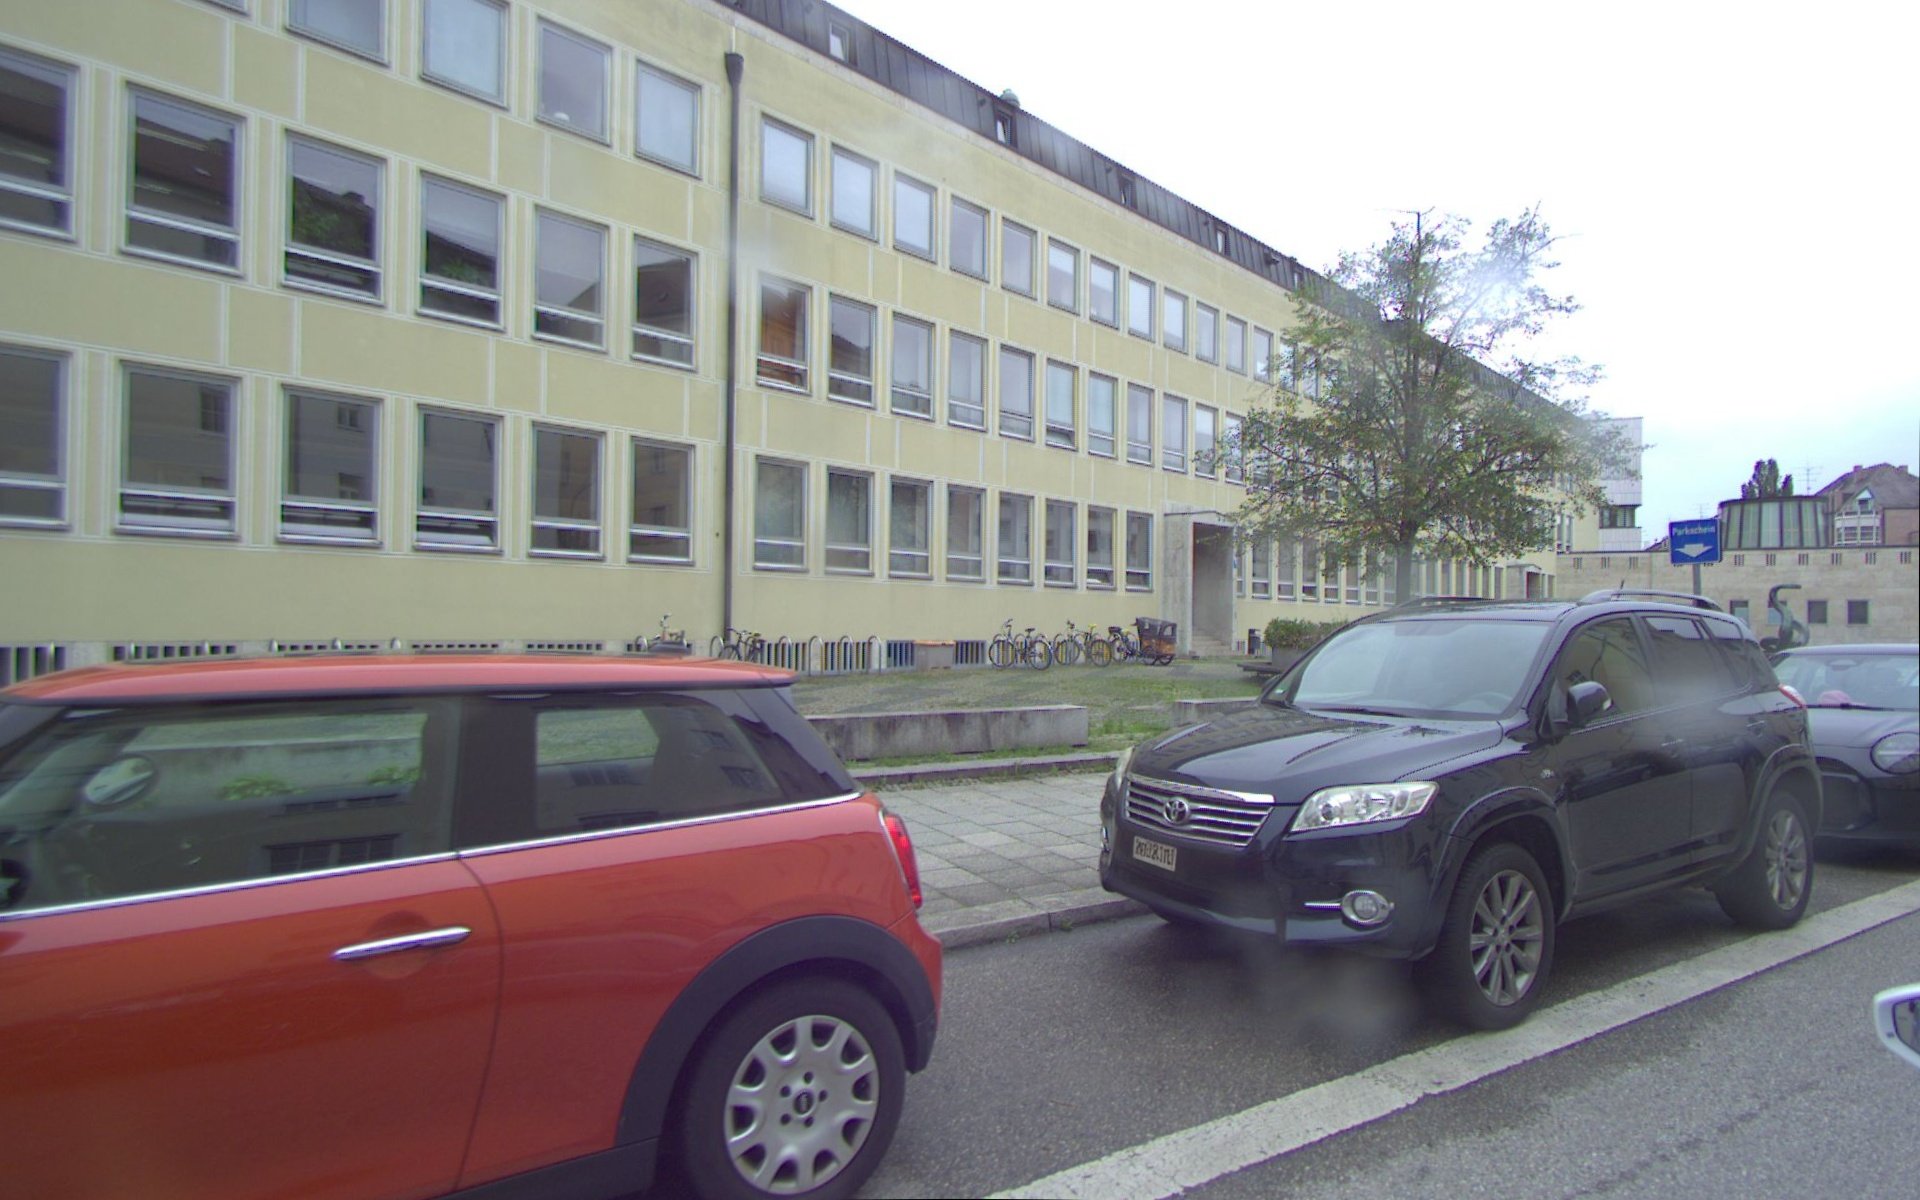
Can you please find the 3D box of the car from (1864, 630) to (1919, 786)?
[{"bbox_3d":[11.246,1.088,10.589,3.939,1.528,1.614,1,-2,-34],"label":"car"}]

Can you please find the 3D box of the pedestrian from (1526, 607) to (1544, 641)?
[{"bbox_3d":[30.674,1.264,53.609,0.662,1.759,0.639,3,1,40],"label":"pedestrian"}]

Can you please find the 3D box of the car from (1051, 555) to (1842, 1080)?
[{"bbox_3d":[2.566,0.772,5.071,3.982,1.713,1.693,1,-3,-31],"label":"car"}]

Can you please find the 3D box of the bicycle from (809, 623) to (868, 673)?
[{"bbox_3d":[-2.538,0.972,20.871,1.512,0.968,0.364,1,0,45],"label":"bicycle"}]

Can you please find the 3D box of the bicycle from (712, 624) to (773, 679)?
[{"bbox_3d":[-4.145,0.963,19.083,1.512,0.968,0.364,1,0,45],"label":"bicycle"}]

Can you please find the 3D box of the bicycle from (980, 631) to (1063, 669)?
[{"bbox_3d":[1.461,1.202,24.405,2.181,0.846,0.492,0,-2,42],"label":"bicycle"}]

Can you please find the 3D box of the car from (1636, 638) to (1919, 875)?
[{"bbox_3d":[7.028,1.016,7.710,3.755,1.430,1.616,1,-3,-31],"label":"car"}]

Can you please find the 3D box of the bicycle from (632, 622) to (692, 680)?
[{"bbox_3d":[-5.432,0.905,18.261,1.512,0.968,0.364,1,0,45],"label":"bicycle"}]

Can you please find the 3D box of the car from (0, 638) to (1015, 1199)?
[{"bbox_3d":[-1.808,0.811,2.580,3.610,1.391,1.644,1,-3,-31],"label":"car"}]

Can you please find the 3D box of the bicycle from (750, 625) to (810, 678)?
[{"bbox_3d":[-3.586,1.008,19.992,1.512,0.968,0.364,1,0,45],"label":"bicycle"}]

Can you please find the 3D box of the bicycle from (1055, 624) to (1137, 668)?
[{"bbox_3d":[3.455,1.162,25.656,2.181,1.051,0.492,0,-2,42],"label":"bicycle"}]

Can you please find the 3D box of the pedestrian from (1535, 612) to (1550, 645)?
[{"bbox_3d":[31.531,1.520,54.366,0.590,1.759,0.663,3,1,29],"label":"pedestrian"}]

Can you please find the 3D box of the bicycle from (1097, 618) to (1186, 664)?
[{"bbox_3d":[5.004,1.115,27.840,1.040,1.184,2.223,1,0,-45],"label":"bicycle"}]

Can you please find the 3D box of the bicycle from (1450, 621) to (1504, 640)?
[{"bbox_3d":[24.233,1.438,47.112,2.181,0.846,0.703,0,-2,42],"label":"bicycle"}]
